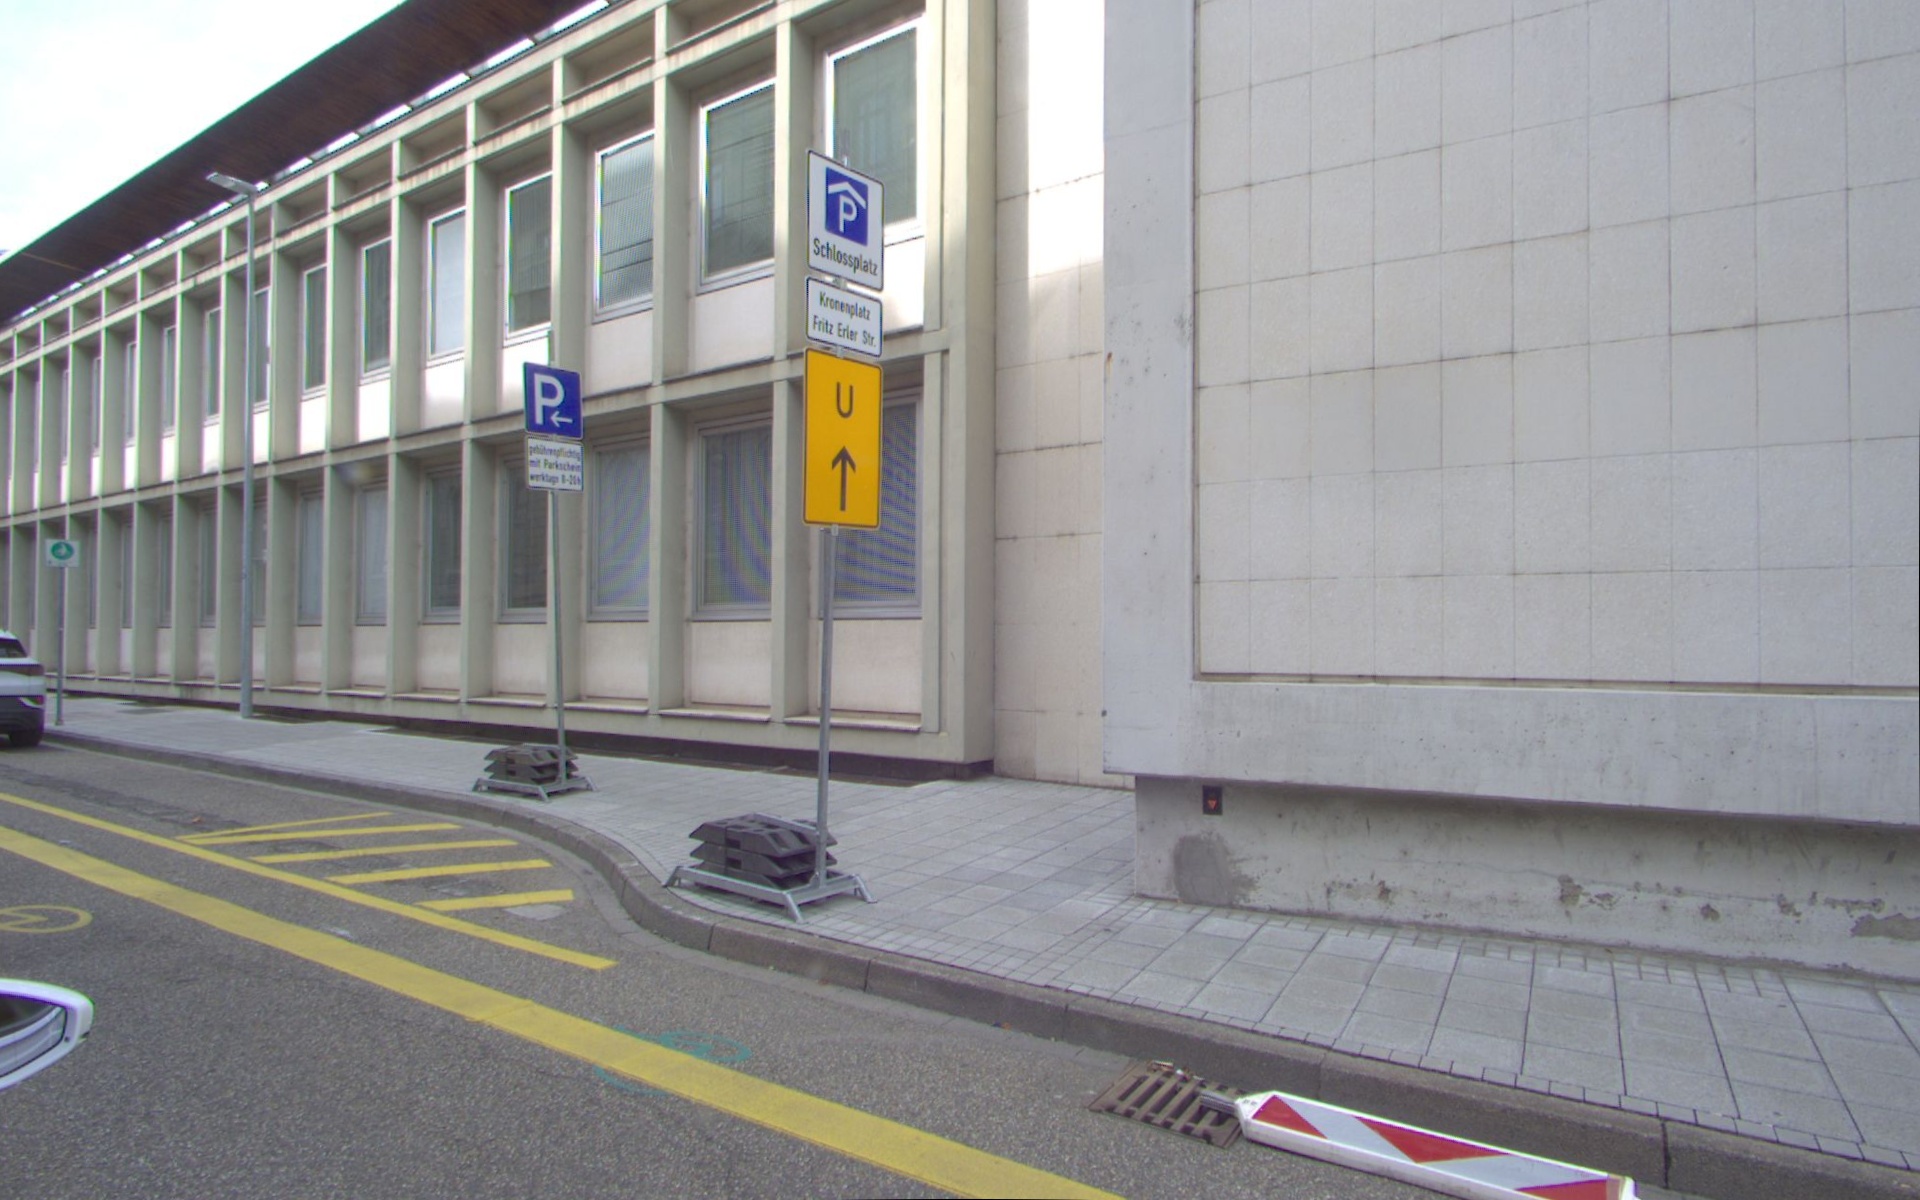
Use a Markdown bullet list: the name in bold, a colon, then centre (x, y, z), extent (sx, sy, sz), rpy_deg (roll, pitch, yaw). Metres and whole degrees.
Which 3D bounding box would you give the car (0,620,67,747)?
- **car**: centre (-14.378, 1.101, 13.955), extent (4.452, 1.624, 1.857), rpy_deg (-1, -5, 35)
